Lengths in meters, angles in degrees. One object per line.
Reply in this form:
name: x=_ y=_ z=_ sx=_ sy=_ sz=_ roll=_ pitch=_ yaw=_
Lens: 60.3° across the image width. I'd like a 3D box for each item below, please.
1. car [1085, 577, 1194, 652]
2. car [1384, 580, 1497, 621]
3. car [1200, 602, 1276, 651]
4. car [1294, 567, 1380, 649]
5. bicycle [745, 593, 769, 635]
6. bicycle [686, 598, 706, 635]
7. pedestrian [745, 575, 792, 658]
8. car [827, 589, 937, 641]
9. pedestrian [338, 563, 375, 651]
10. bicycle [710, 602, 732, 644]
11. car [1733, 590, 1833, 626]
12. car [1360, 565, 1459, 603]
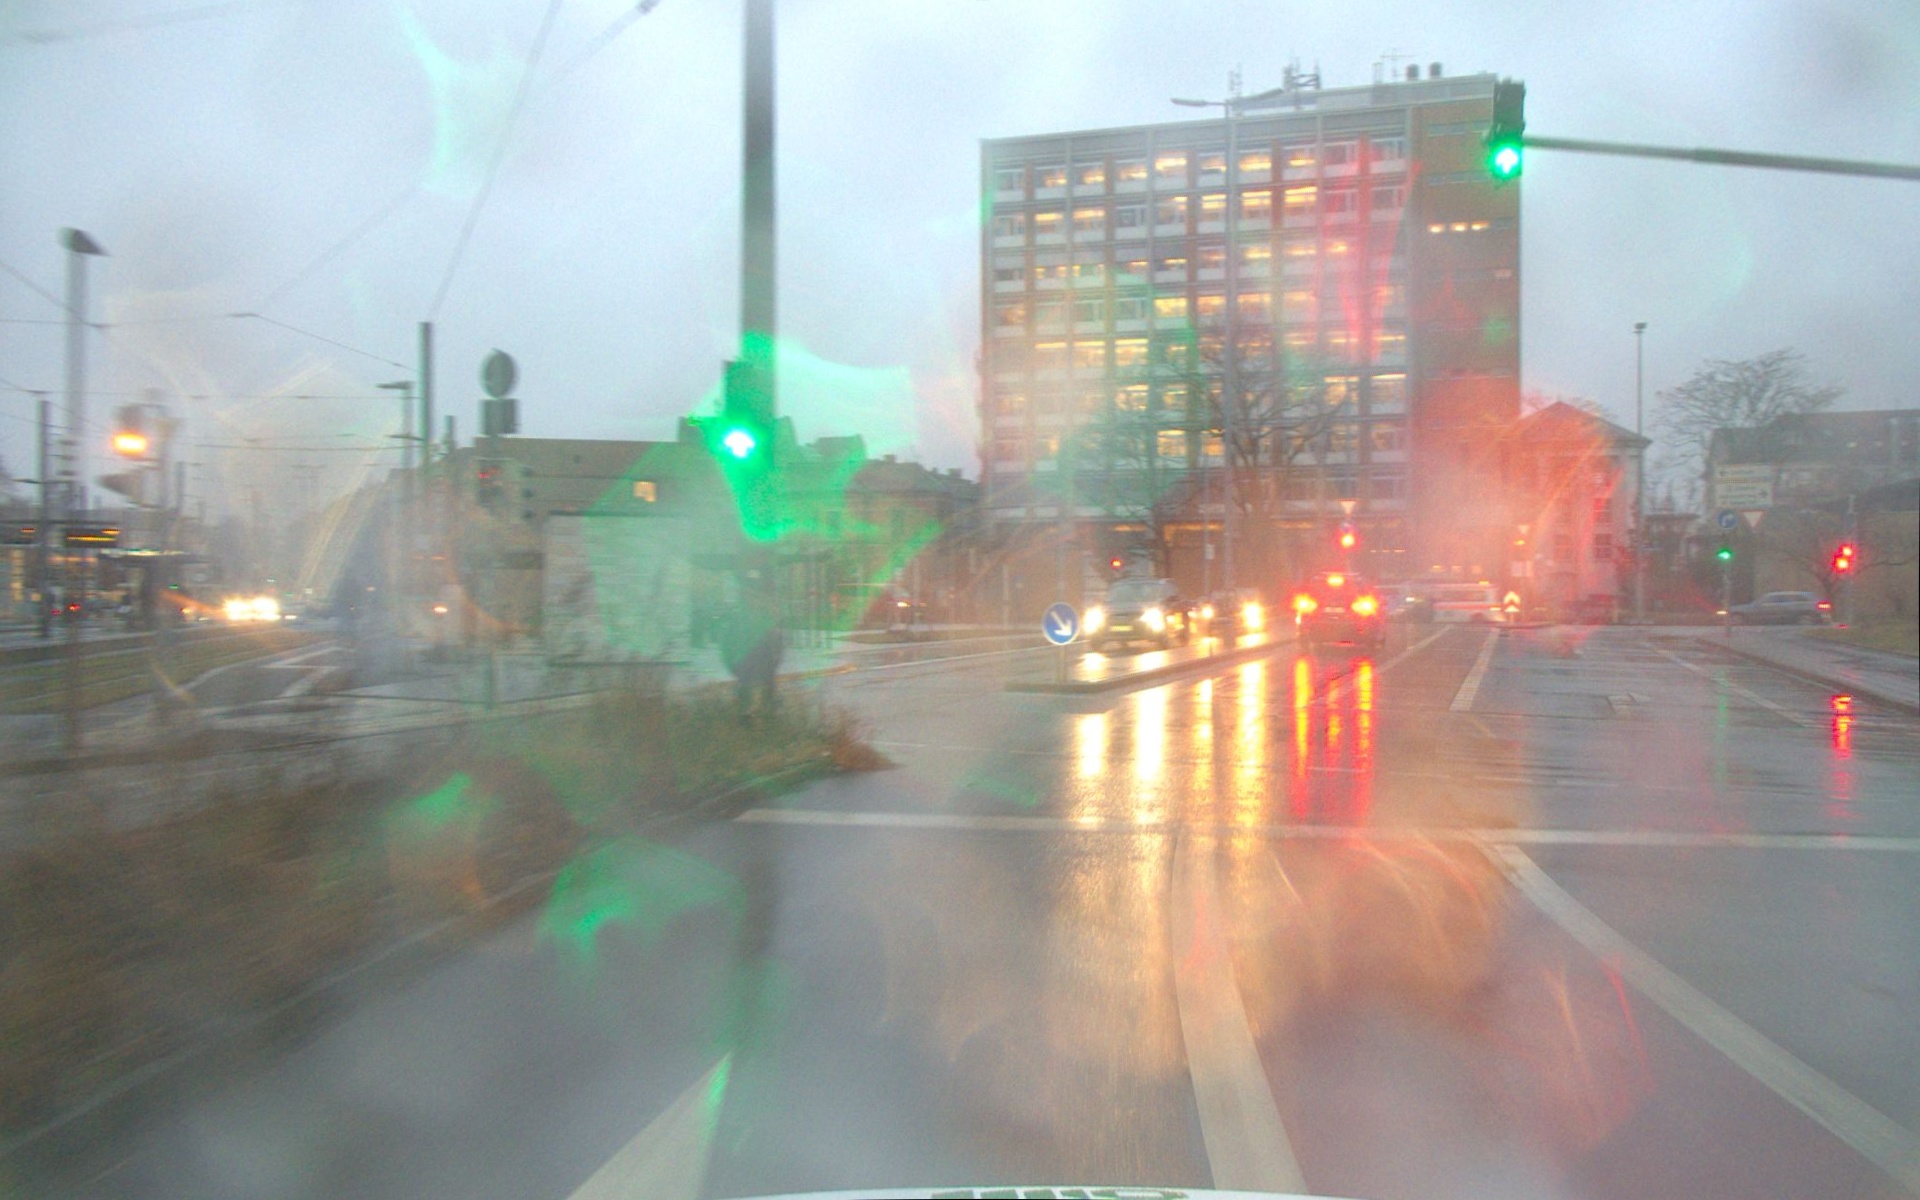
car: x=4.425 y=0.308 z=40.209 sx=1.717 sy=1.691 sz=4.532 roll=-1 pitch=0 yaw=18
car: x=24.079 y=0.017 z=82.904 sx=5.066 sy=1.946 sz=1.993 roll=1 pitch=0 yaw=35
car: x=8.793 y=0.803 z=52.101 sx=1.710 sy=1.402 sz=4.369 roll=-1 pitch=0 yaw=18
car: x=9.255 y=0.154 z=40.445 sx=1.613 sy=1.850 sz=4.002 roll=2 pitch=1 yaw=19
bicycle: x=-5.918 y=0.417 z=48.218 sx=0.539 sy=1.185 sz=1.894 roll=2 pitch=-1 yaw=-10
bicycle: x=-8.565 y=0.532 z=53.598 sx=0.539 sy=1.185 sz=1.894 roll=2 pitch=-1 yaw=-10
pedestrian: x=-3.991 y=0.347 z=34.547 sx=0.659 sy=1.703 sz=0.730 roll=1 pitch=-1 yaw=22
car: x=-3.780 y=0.729 z=79.596 sx=4.937 sy=2.321 sz=2.250 roll=1 pitch=-1 yaw=36
pedestrian: x=-12.869 y=0.150 z=35.285 sx=0.593 sy=1.845 sz=0.822 roll=2 pitch=-1 yaw=-14
bicycle: x=-7.074 y=0.669 z=48.841 sx=0.539 sy=1.185 sz=1.894 roll=2 pitch=-1 yaw=-10
car: x=37.200 y=0.365 z=74.800 sx=3.849 sy=1.511 sz=1.464 roll=1 pitch=-1 yaw=35
car: x=26.950 y=-0.967 z=99.248 sx=5.437 sy=2.060 sz=1.998 roll=2 pitch=-1 yaw=25
